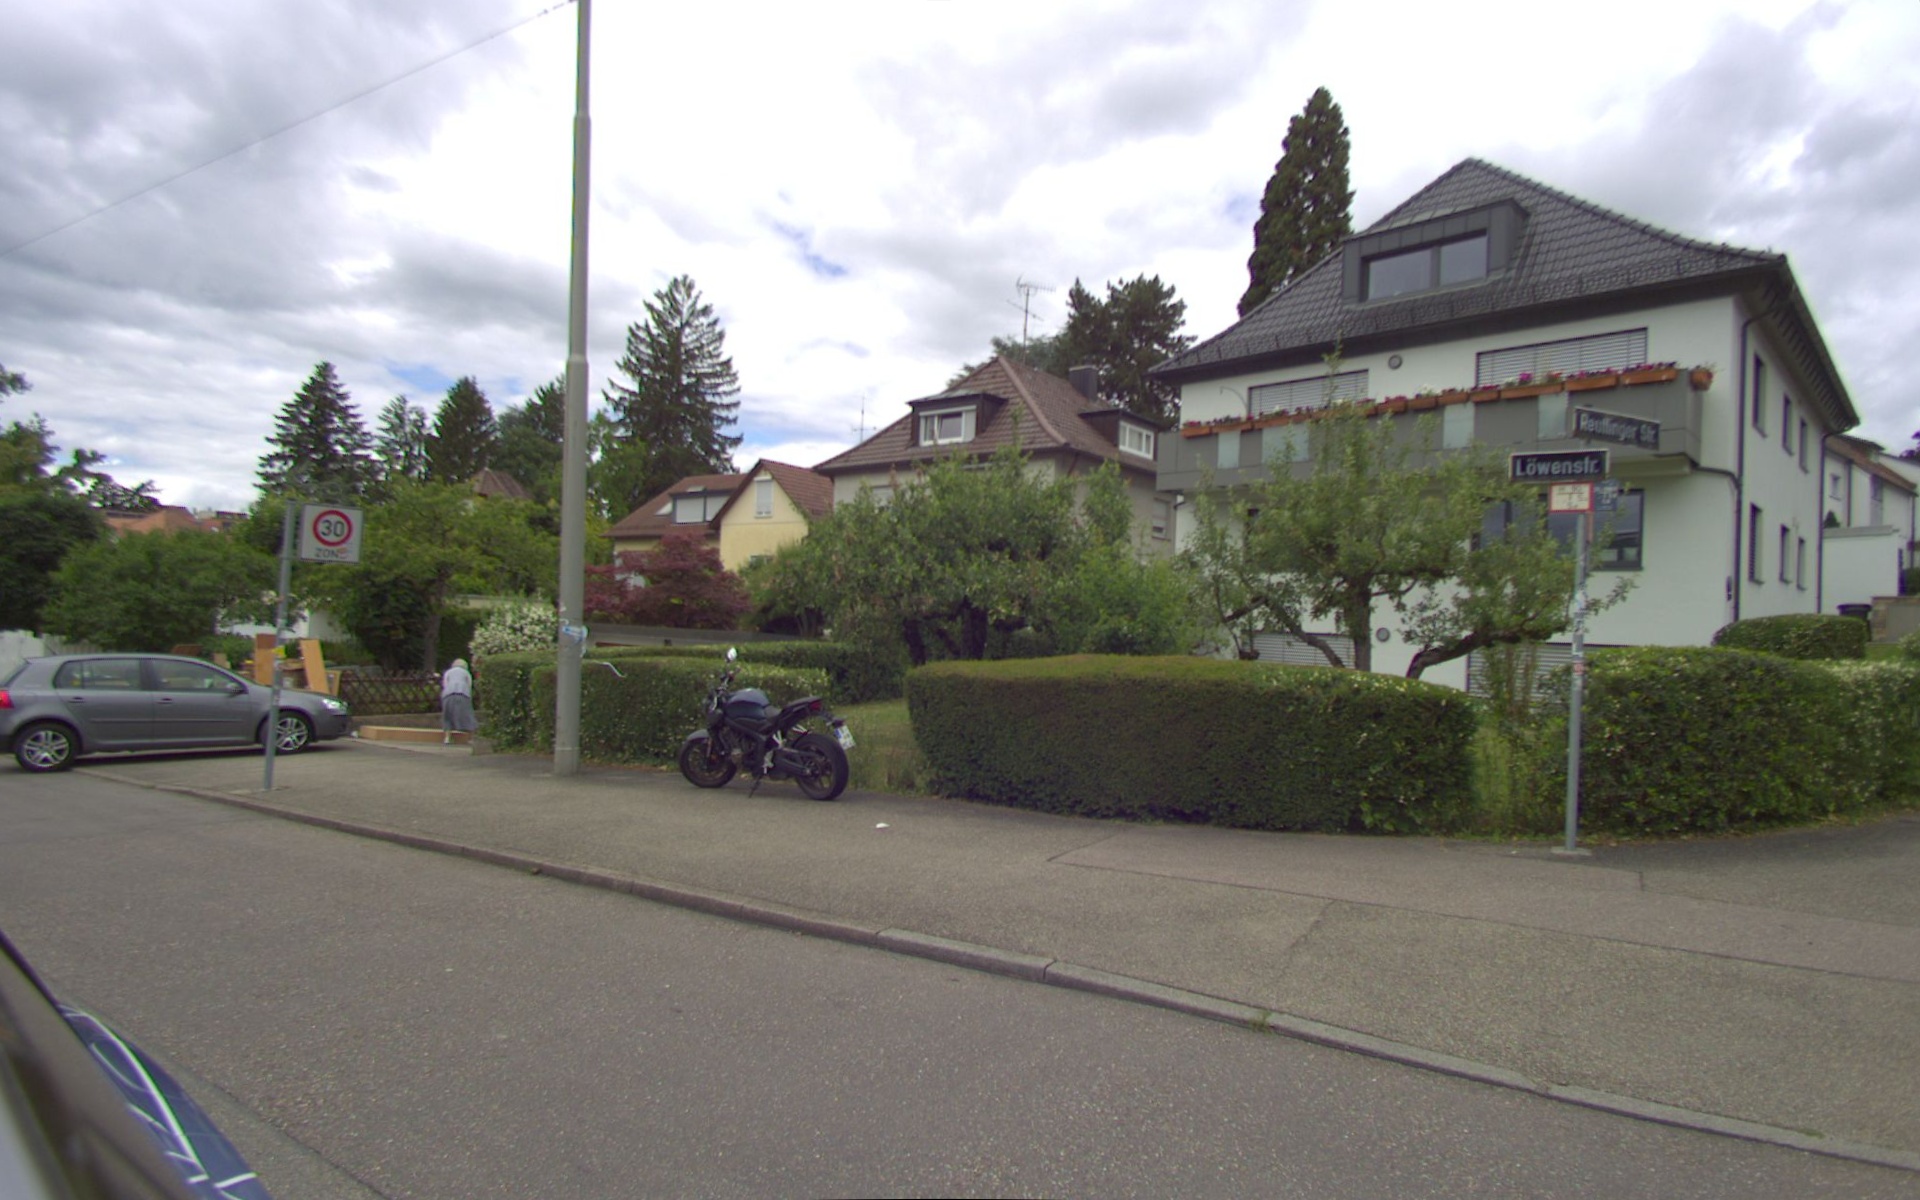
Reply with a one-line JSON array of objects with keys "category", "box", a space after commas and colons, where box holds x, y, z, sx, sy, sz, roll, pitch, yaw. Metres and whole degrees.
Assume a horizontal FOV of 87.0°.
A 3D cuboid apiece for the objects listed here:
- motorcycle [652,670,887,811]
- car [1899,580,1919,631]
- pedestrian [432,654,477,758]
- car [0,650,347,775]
[{"category": "motorcycle", "box": [-1.774, 1.234, 9.334, 2.137, 1.148, 0.767, -2, -4, 29]}, {"category": "car", "box": [28.117, 0.138, 27.105, 1.876, 1.378, 4.303, -2, 1, -45]}, {"category": "pedestrian", "box": [-9.207, 1.906, 18.432, 0.635, 1.818, 0.614, 2, -3, -35]}, {"category": "car", "box": [-10.932, 1.461, 14.105, 3.934, 1.473, 1.741, 1, -3, -37]}]
